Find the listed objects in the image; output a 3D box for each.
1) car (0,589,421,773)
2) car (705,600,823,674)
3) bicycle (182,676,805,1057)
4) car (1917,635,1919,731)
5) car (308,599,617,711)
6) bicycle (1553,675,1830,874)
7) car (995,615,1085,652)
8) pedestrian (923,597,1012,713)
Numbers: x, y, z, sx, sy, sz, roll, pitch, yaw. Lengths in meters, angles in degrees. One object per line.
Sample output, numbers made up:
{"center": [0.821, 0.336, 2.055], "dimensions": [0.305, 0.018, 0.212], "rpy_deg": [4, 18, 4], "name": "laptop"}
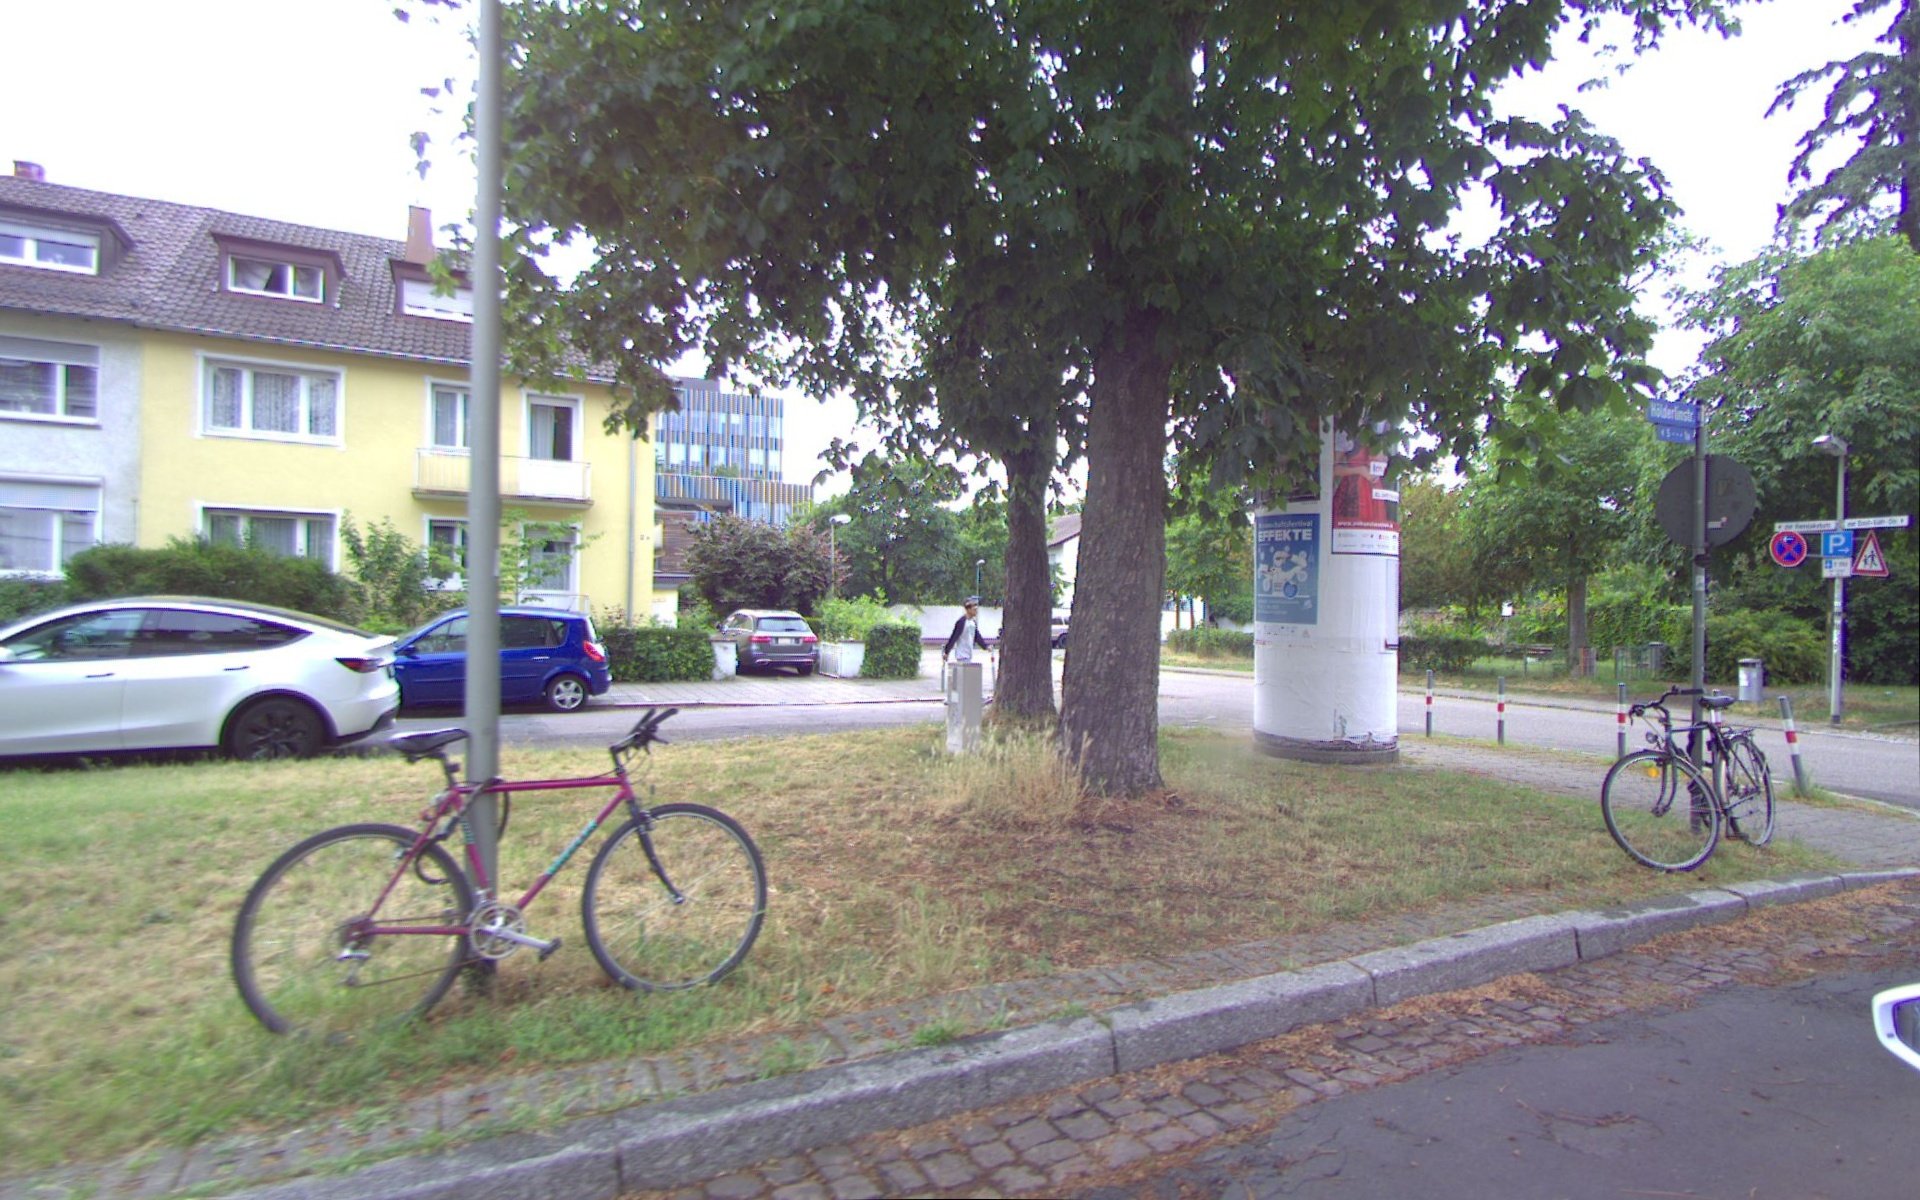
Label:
{"center": [-8.074, 0.736, 9.851], "dimensions": [4.822, 1.587, 1.890], "rpy_deg": [2, -2, -28], "name": "car"}
{"center": [-4.807, 0.867, 24.206], "dimensions": [1.819, 1.631, 3.974], "rpy_deg": [2, -2, -26], "name": "car"}
{"center": [-1.572, 0.838, 3.664], "dimensions": [1.860, 1.080, 0.664], "rpy_deg": [2, -1, -25], "name": "bicycle"}
{"center": [17.047, 1.298, 15.672], "dimensions": [4.501, 1.473, 1.669], "rpy_deg": [1, -1, -27], "name": "car"}
{"center": [-7.705, 0.852, 15.939], "dimensions": [4.151, 1.587, 1.695], "rpy_deg": [2, 0, -24], "name": "car"}
{"center": [4.521, 0.994, 6.151], "dimensions": [2.157, 0.999, 0.508], "rpy_deg": [2, 1, -30], "name": "bicycle"}
{"center": [4.335, 1.824, 54.589], "dimensions": [4.435, 1.884, 1.987], "rpy_deg": [2, 1, -26], "name": "car"}
{"center": [0.139, 0.897, 16.887], "dimensions": [1.196, 1.860, 0.878], "rpy_deg": [1, -1, 26], "name": "pedestrian"}
